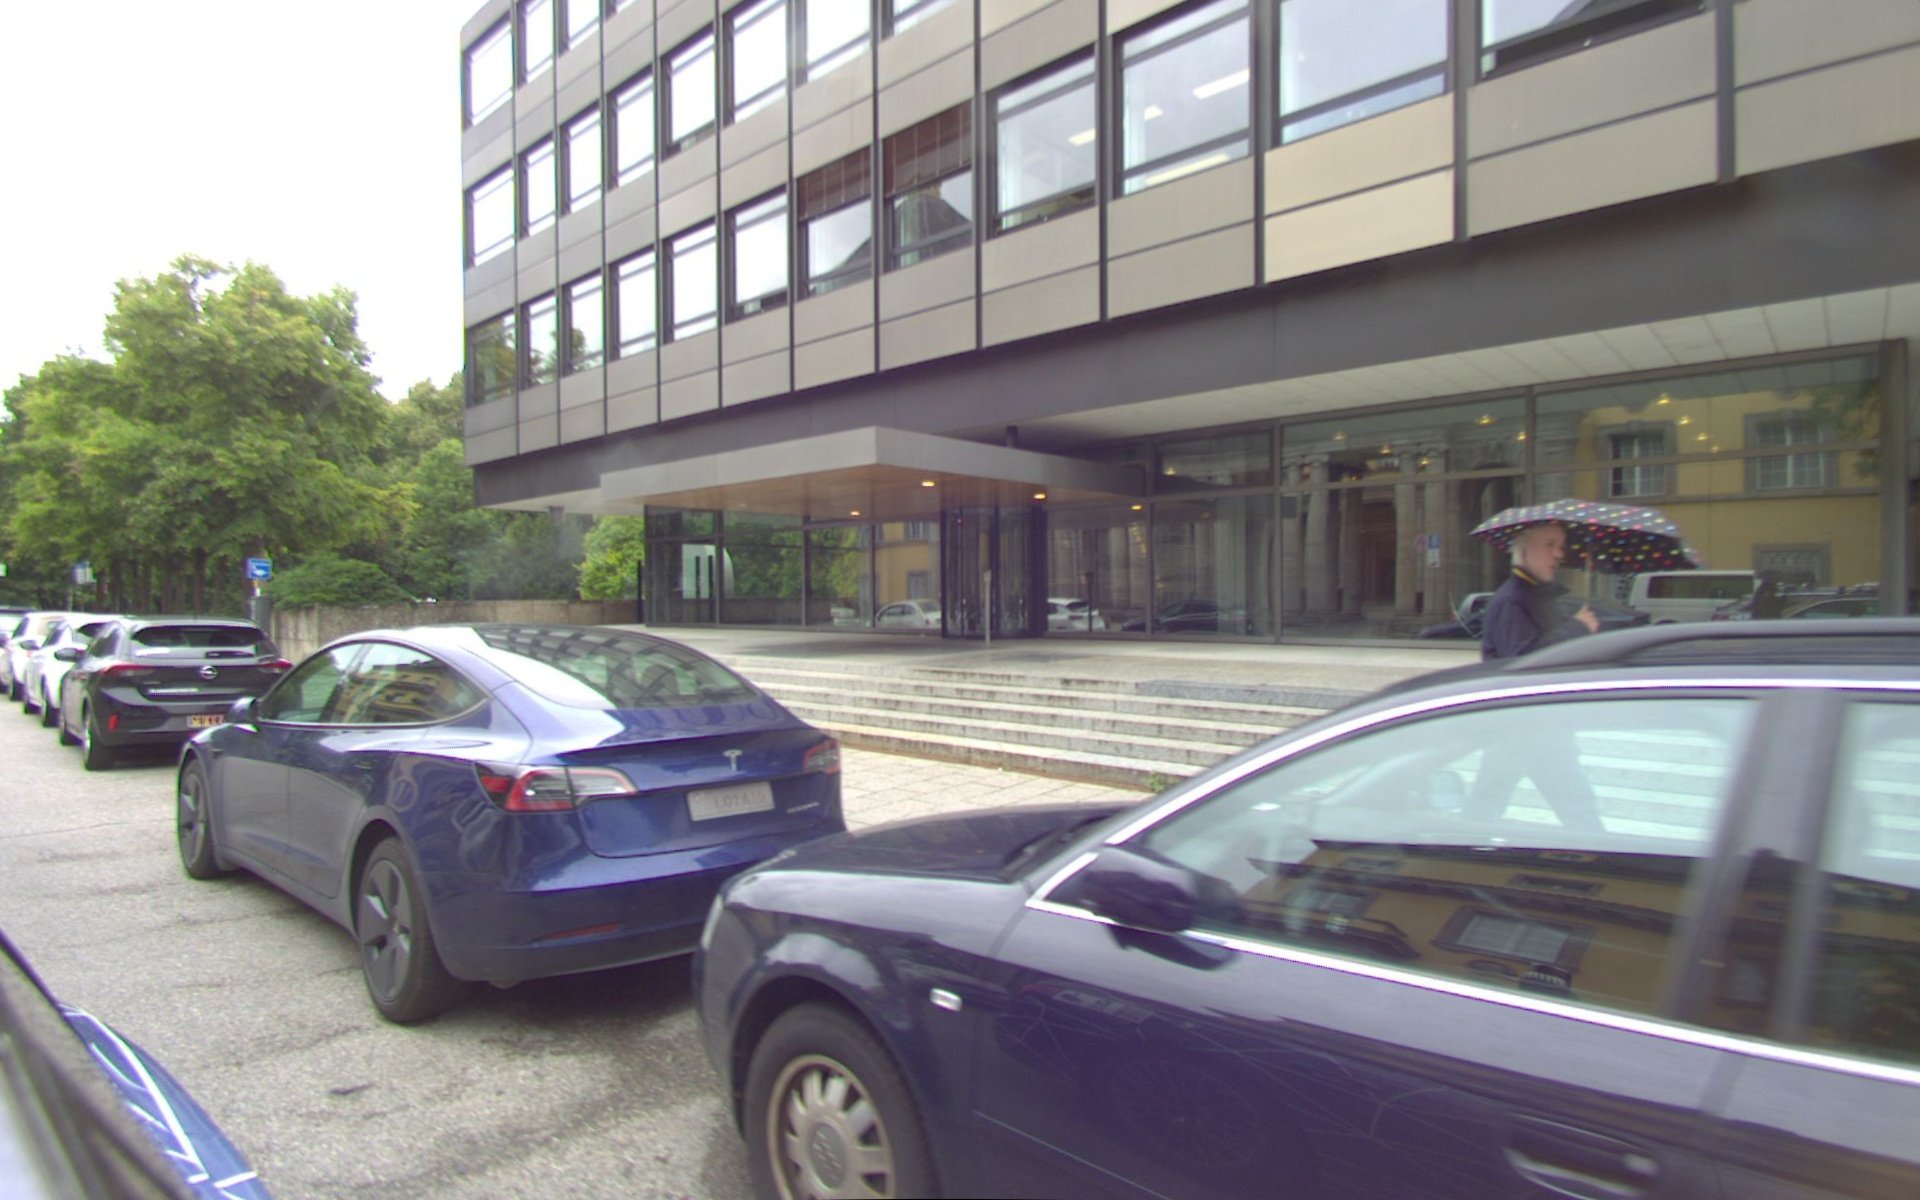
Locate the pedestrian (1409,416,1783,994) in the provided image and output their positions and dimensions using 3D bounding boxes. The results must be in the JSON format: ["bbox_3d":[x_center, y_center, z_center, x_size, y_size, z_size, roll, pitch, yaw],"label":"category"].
[{"bbox_3d":[2.804,0.383,4.463,1.221,2.070,1.123,-1,-1,41],"label":"pedestrian"}]

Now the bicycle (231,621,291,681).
[{"bbox_3d":[-14.700,1.044,21.262,1.526,1.173,0.636,-1,2,41],"label":"bicycle"}]

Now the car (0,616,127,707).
[{"bbox_3d":[-16.323,1.043,18.215,3.552,1.482,1.527,-1,-2,42],"label":"car"}]

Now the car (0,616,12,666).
[{"bbox_3d":[-32.164,1.316,32.700,4.364,1.555,1.972,-1,-1,43],"label":"car"}]

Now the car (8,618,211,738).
[{"bbox_3d":[-12.223,1.007,14.445,4.279,1.451,1.663,-1,-3,43],"label":"car"}]

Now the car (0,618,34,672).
[{"bbox_3d":[-28.199,1.272,29.114,4.647,1.472,1.972,-1,-1,43],"label":"car"}]

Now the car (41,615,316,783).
[{"bbox_3d":[-8.582,0.914,10.965,4.238,1.472,1.720,-1,-2,44],"label":"car"}]

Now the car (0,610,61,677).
[{"bbox_3d":[-24.456,1.059,25.675,4.521,1.595,1.972,-1,-1,42],"label":"car"}]

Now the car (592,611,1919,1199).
[{"bbox_3d":[1.433,0.782,1.826,4.884,1.502,1.971,-1,-2,43],"label":"car"}]

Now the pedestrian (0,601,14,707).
[{"bbox_3d":[-16.466,0.888,16.833,0.688,1.765,0.883,-1,-3,33],"label":"pedestrian"}]

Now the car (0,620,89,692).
[{"bbox_3d":[-20.129,1.146,21.704,4.218,1.411,1.738,-1,-3,44],"label":"car"}]

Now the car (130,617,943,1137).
[{"bbox_3d":[-2.550,0.850,5.264,4.915,1.450,1.903,0,-2,41],"label":"car"}]
